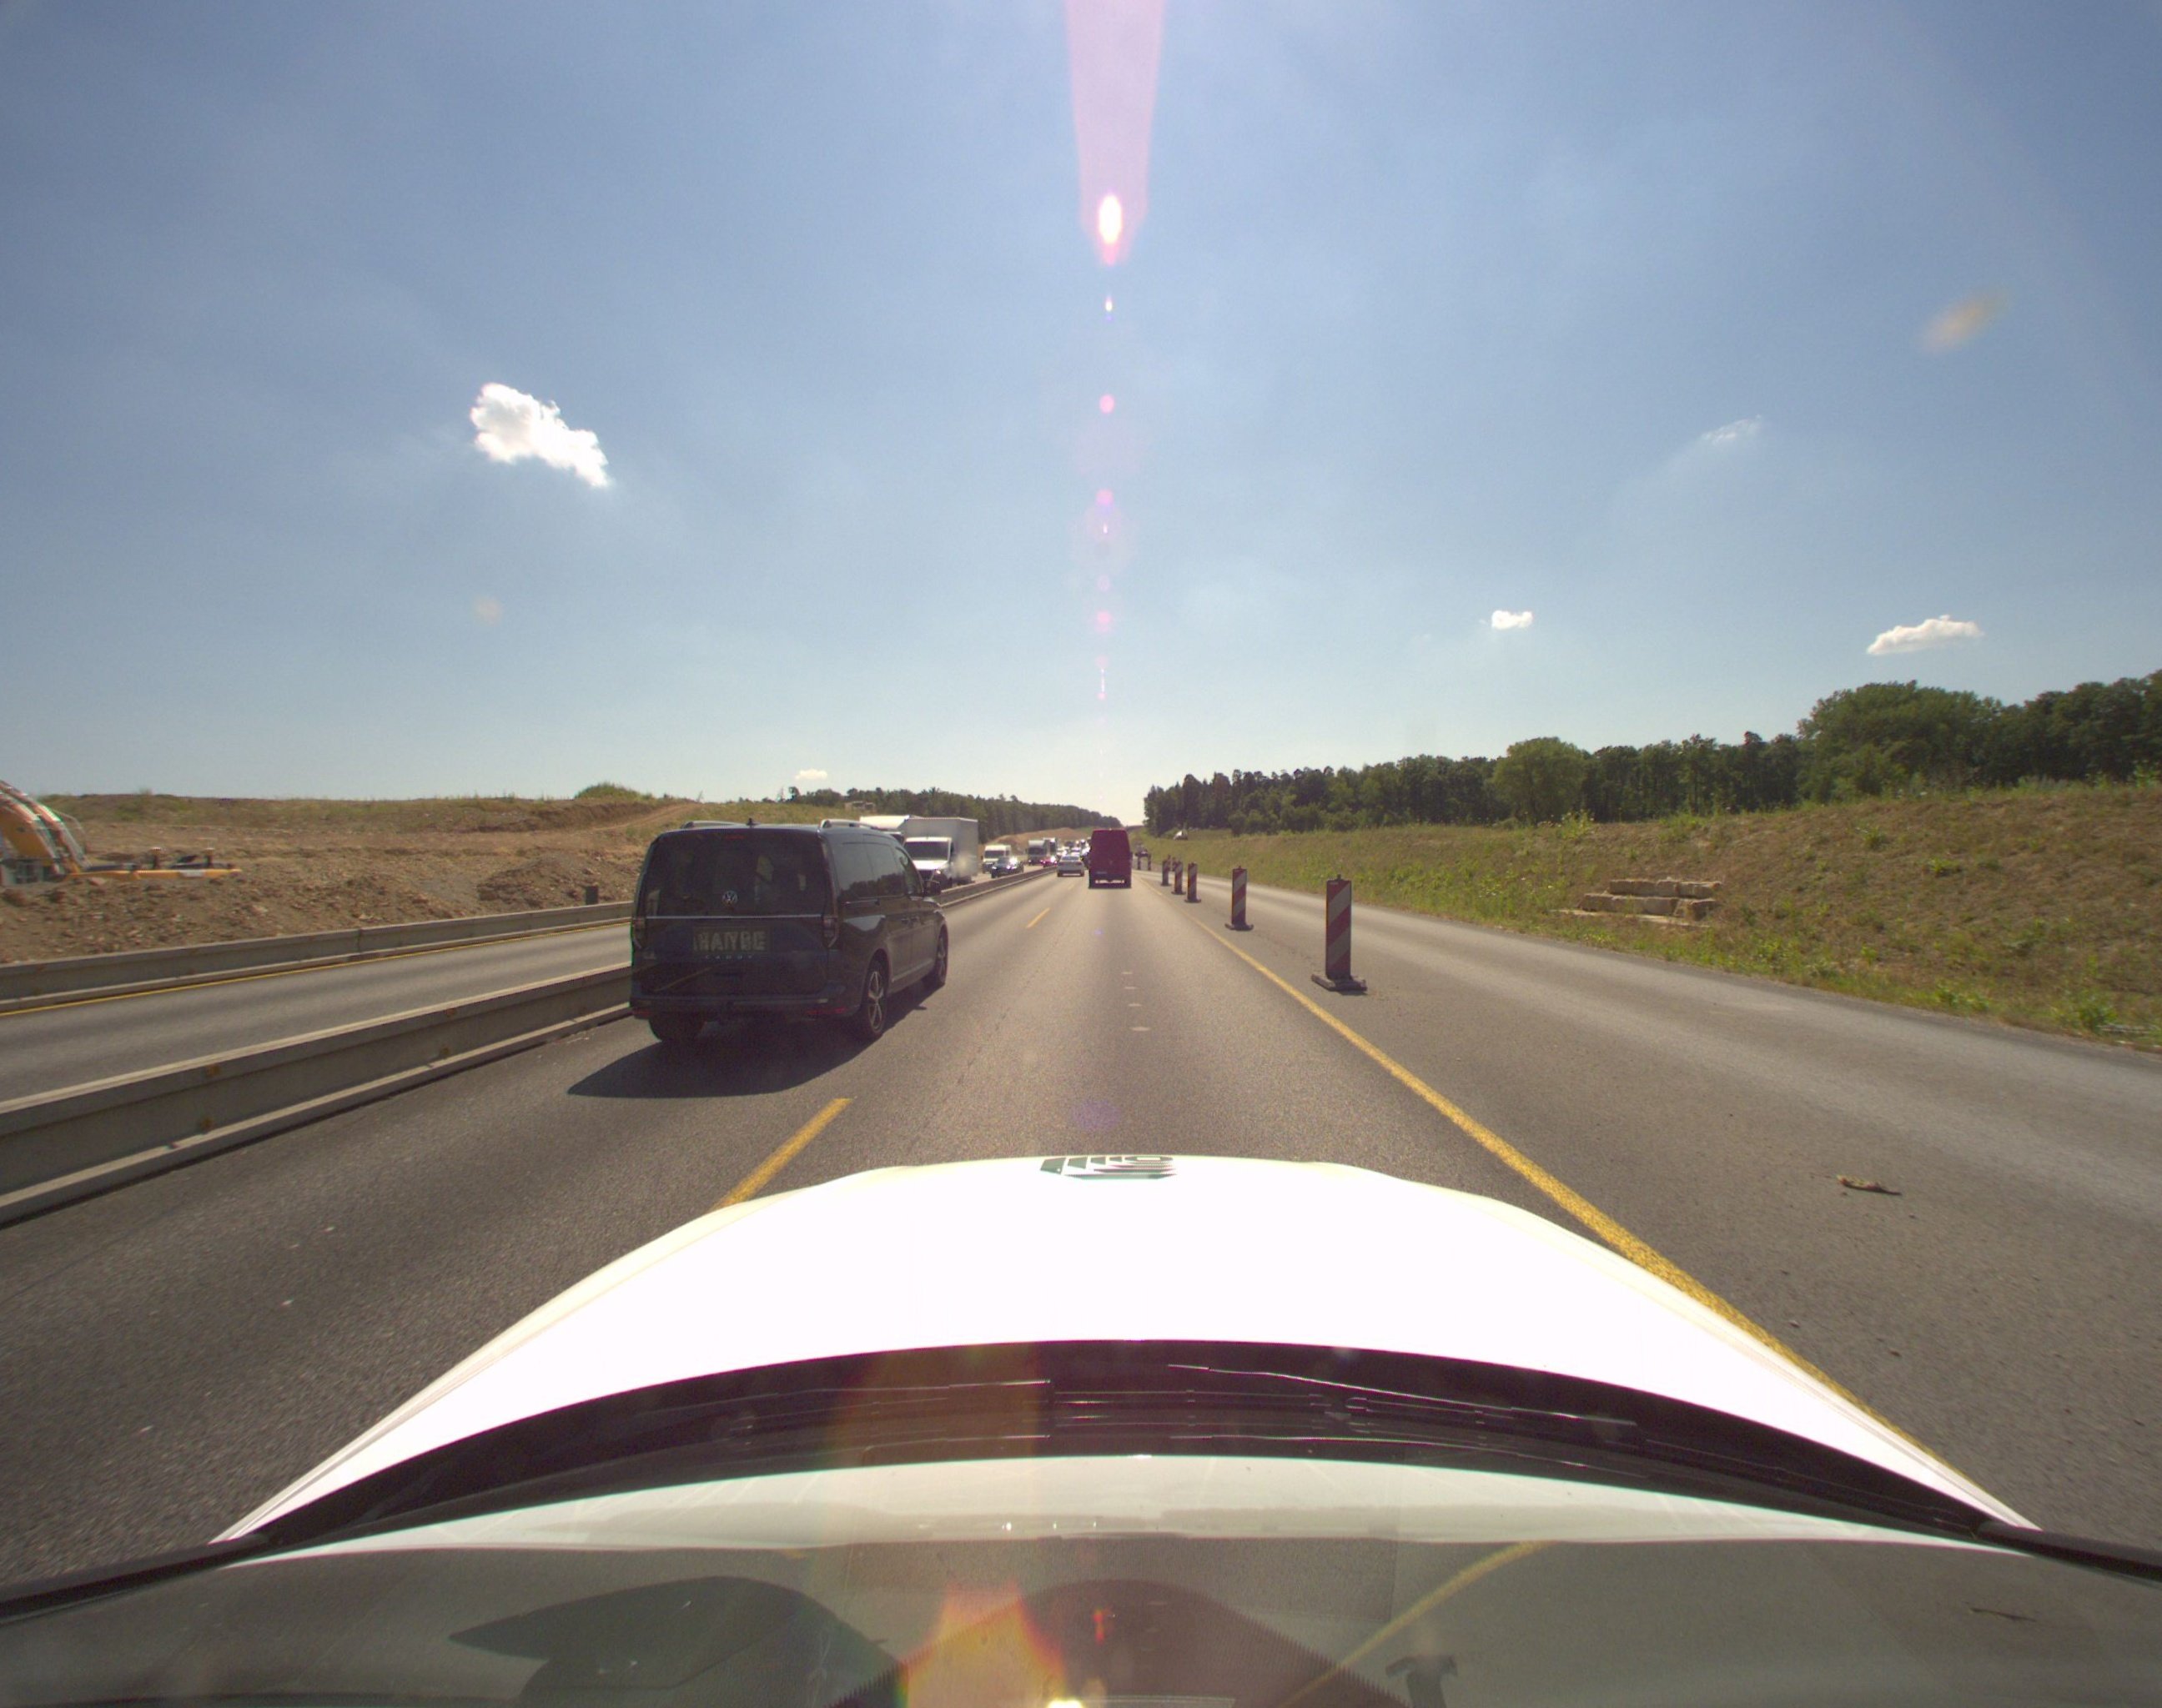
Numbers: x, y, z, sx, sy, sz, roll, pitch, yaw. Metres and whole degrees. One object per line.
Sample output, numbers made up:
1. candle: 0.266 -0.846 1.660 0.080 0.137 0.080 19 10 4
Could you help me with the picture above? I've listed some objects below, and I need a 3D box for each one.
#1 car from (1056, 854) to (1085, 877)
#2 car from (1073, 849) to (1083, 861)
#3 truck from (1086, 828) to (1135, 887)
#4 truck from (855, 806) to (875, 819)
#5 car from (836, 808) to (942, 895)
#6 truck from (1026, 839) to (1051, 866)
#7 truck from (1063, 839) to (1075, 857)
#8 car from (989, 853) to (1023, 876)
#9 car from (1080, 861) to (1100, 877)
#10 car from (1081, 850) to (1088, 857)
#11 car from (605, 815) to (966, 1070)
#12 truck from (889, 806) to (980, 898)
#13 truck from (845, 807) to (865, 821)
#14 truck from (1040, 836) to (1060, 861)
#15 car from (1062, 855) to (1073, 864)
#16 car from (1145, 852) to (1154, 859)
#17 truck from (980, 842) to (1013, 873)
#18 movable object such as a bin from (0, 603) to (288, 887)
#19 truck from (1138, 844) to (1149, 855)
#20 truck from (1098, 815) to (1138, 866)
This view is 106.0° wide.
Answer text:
1. car: -0.672 0.753 56.200 1.824 1.522 3.963 0 0 2
2. car: -0.585 0.168 166.779 1.986 2.292 5.345 0 0 1
3. truck: 1.383 0.166 38.817 2.145 2.590 5.335 0 0 2
4. truck: -55.881 -10.735 210.896 2.311 2.749 8.813 0 -1 -34
5. car: -8.943 -0.124 39.005 2.897 3.740 8.094 0 0 2
6. truck: -5.832 -0.161 113.768 2.634 3.716 9.486 0 -1 2
7. truck: -2.996 -1.514 204.355 2.480 4.198 5.919 -2 0 4
8. car: -5.040 0.702 55.234 1.781 1.482 4.563 0 0 2
9. car: 0.935 1.480 82.494 1.959 1.541 4.313 0 0 2
10. car: 0.828 -0.111 213.582 1.682 1.613 4.595 0 0 2
11. car: -2.460 0.614 8.228 1.745 1.824 4.785 0 0 2
12. truck: -5.535 -0.042 31.891 2.264 3.150 7.312 0 -1 0
13. truck: -56.322 -10.011 203.232 2.371 2.898 8.279 0 -1 -34
14. truck: -5.008 -0.882 133.673 2.838 4.018 4.861 -2 -1 2
15. car: -2.195 0.900 134.059 1.852 1.442 4.500 0 0 0
16. car: 15.112 0.313 179.290 1.647 1.426 4.548 -3 1 2
17. truck: -7.405 0.245 72.117 2.091 2.569 6.356 0 1 1
18. movable object such as a bin: -31.378 -2.566 21.269 18.154 6.773 3.389 0 -1 1
19. truck: 15.075 -1.063 197.191 2.117 2.457 5.940 0 1 9
20. truck: 4.360 -1.422 98.021 4.383 5.496 16.610 0 0 2
